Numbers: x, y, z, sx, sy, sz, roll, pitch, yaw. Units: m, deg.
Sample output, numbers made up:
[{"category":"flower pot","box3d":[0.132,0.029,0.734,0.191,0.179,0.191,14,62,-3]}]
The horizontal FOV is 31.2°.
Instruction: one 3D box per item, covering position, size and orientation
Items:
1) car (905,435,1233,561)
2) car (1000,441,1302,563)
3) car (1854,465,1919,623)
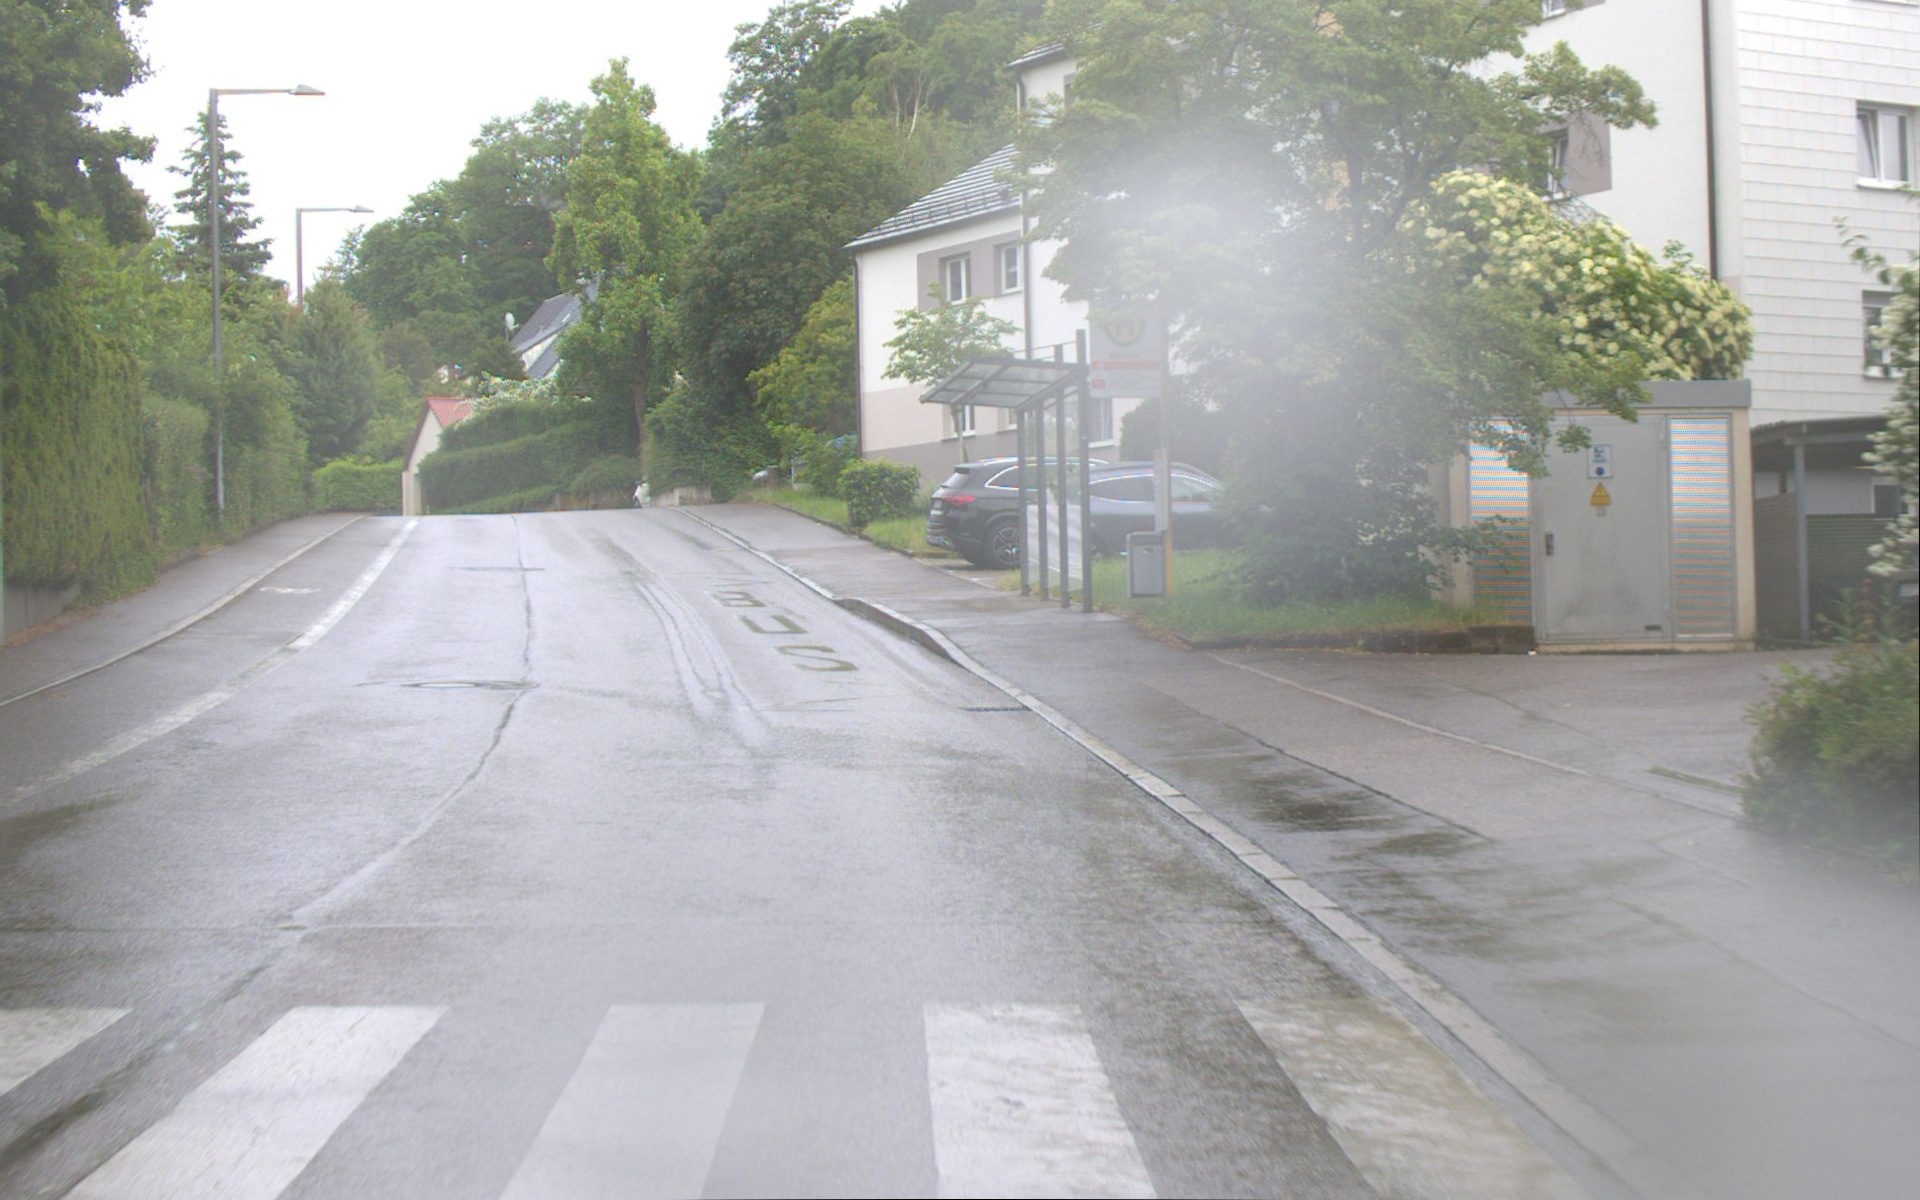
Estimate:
[{"category":"car","box3d":[1.607,-1.549,51.360,4.524,1.654,1.857,-3,4,-13]},{"category":"car","box3d":[2.550,-1.336,46.274,3.742,1.453,1.725,-2,4,-8]},{"category":"car","box3d":[10.451,-0.547,31.962,3.699,1.426,1.796,-1,0,-6]}]
